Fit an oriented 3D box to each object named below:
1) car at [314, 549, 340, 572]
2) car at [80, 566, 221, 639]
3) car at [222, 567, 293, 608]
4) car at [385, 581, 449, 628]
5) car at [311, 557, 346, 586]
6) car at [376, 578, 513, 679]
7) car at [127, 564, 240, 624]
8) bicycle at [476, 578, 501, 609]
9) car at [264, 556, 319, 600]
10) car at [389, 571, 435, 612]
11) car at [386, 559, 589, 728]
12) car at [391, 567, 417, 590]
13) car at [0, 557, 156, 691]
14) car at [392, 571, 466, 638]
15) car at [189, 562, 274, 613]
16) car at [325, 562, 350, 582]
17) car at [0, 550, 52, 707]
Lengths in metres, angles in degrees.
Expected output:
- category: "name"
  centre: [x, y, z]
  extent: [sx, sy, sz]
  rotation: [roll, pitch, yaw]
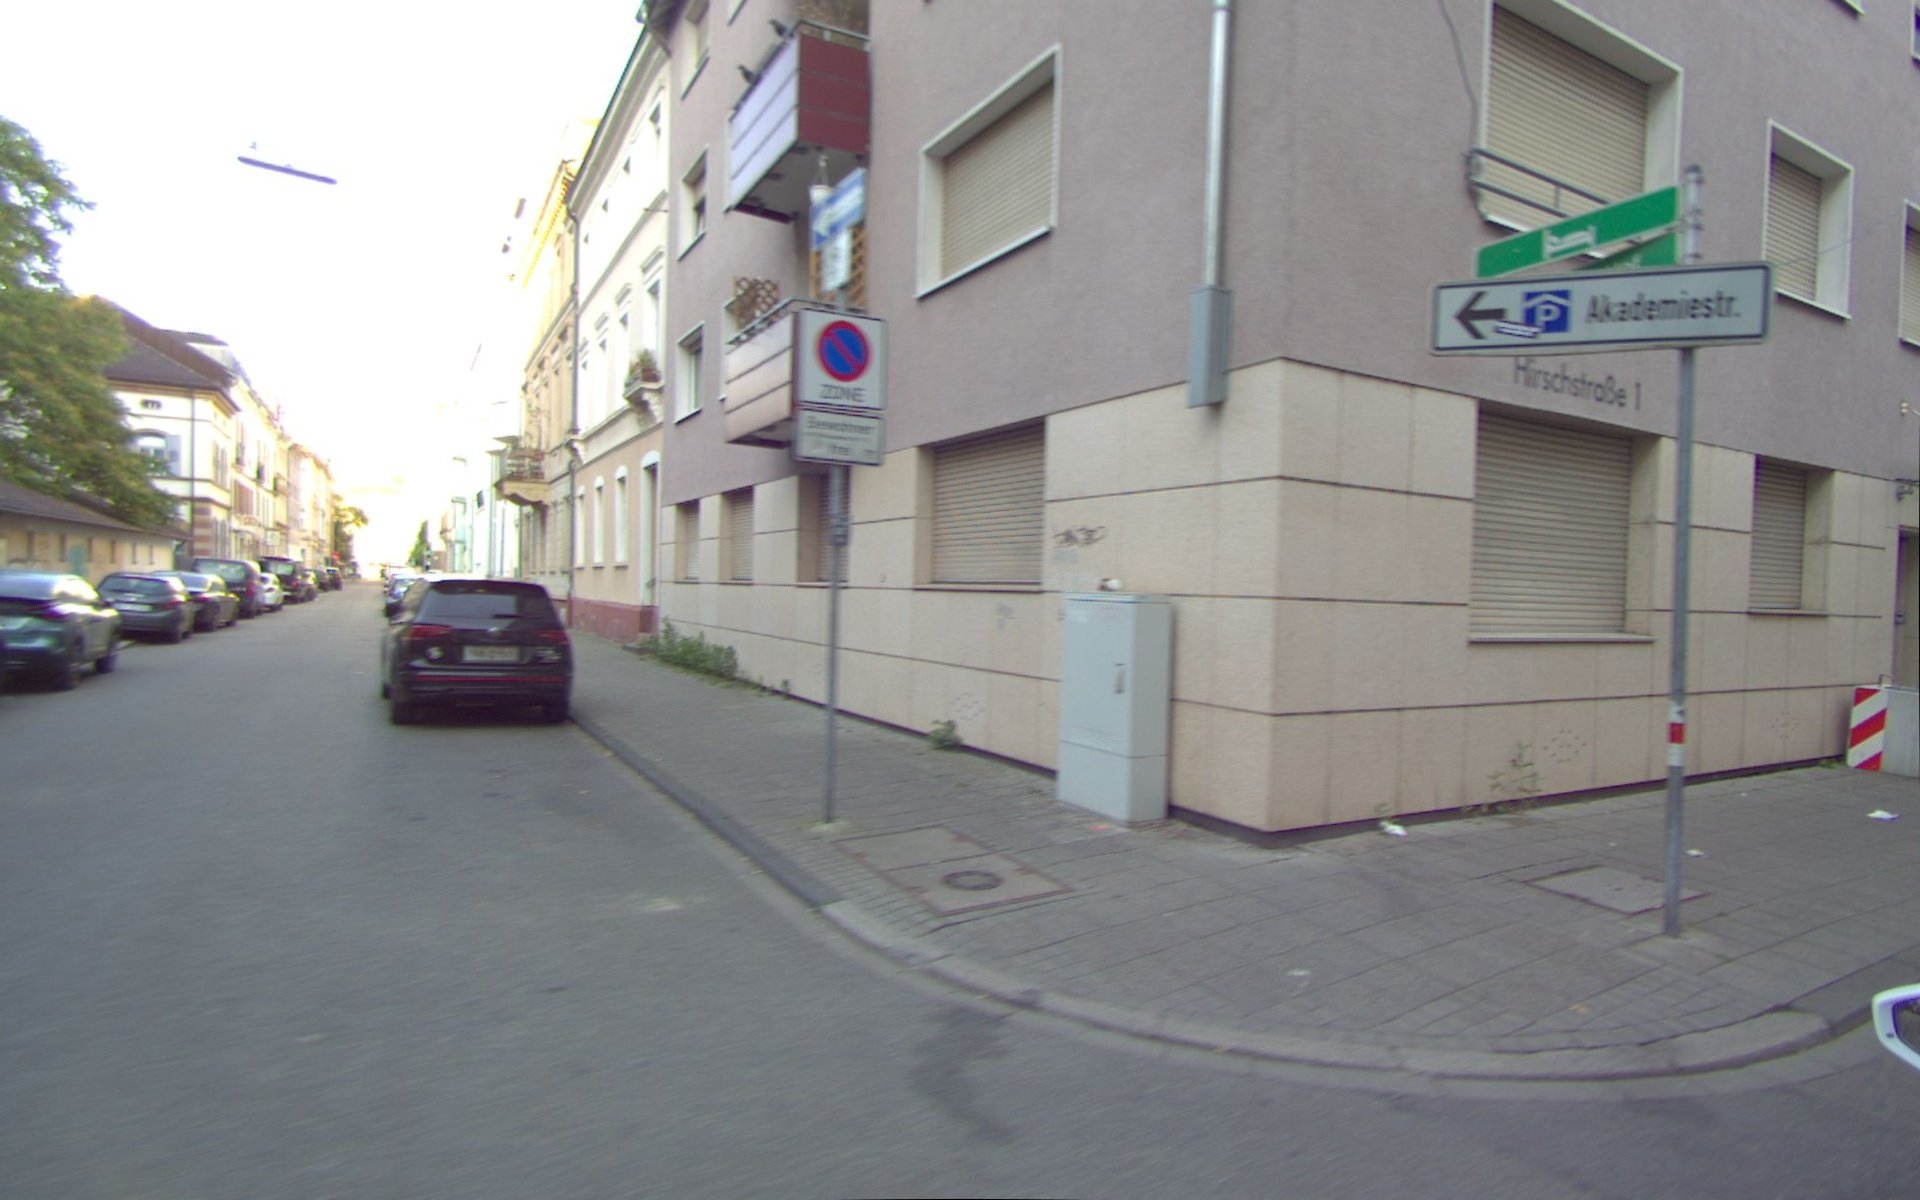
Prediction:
- category: "car"
  centre: [-59.850, -3.708, 94.990]
  extent: [1.823, 1.986, 3.872]
  rotation: [1, 0, -29]
- category: "car"
  centre: [-18.375, 0.033, 22.994]
  extent: [1.823, 1.504, 3.872]
  rotation: [1, 0, -29]
- category: "car"
  centre: [-27.625, -0.484, 39.595]
  extent: [1.823, 1.504, 3.872]
  rotation: [1, 0, -29]
- category: "car"
  centre: [-16.198, 0.097, 30.050]
  extent: [1.596, 1.315, 3.160]
  rotation: [1, 1, -28]
- category: "car"
  centre: [-45.787, -2.017, 72.889]
  extent: [1.823, 1.986, 3.872]
  rotation: [1, 0, -29]
- category: "car"
  centre: [-8.422, 0.410, 16.687]
  extent: [1.737, 1.467, 3.823]
  rotation: [1, 0, -24]
- category: "car"
  centre: [-21.050, -0.173, 27.378]
  extent: [1.823, 1.504, 3.872]
  rotation: [1, 0, -29]
- category: "bicycle"
  centre: [-20.772, -0.328, 44.226]
  extent: [0.785, 1.278, 2.931]
  rotation: [-1, 2, -29]
- category: "car"
  centre: [-32.181, -1.065, 48.422]
  extent: [1.823, 1.986, 3.872]
  rotation: [1, 0, -29]
- category: "car"
  centre: [-21.207, -0.344, 38.938]
  extent: [1.480, 1.541, 3.160]
  rotation: [1, 1, -28]
- category: "car"
  centre: [-5.788, 0.463, 12.064]
  extent: [1.776, 1.677, 3.813]
  rotation: [4, -1, -31]
- category: "car"
  centre: [-37.595, -1.457, 67.989]
  extent: [1.480, 1.529, 3.160]
  rotation: [1, 1, -28]
- category: "car"
  centre: [-13.142, 0.255, 14.314]
  extent: [1.805, 1.662, 4.352]
  rotation: [1, 1, -28]
- category: "car"
  centre: [-13.729, 0.089, 26.021]
  extent: [1.596, 1.609, 3.160]
  rotation: [1, 1, -28]
- category: "car"
  centre: [-24.814, -0.432, 34.330]
  extent: [1.823, 1.630, 3.872]
  rotation: [1, 0, -29]
- category: "car"
  centre: [-50.269, -2.242, 81.199]
  extent: [1.480, 1.529, 3.160]
  rotation: [1, 1, -28]
- category: "car"
  centre: [-10.636, 0.304, 9.638]
  extent: [1.805, 1.662, 4.352]
  rotation: [1, 1, -28]
